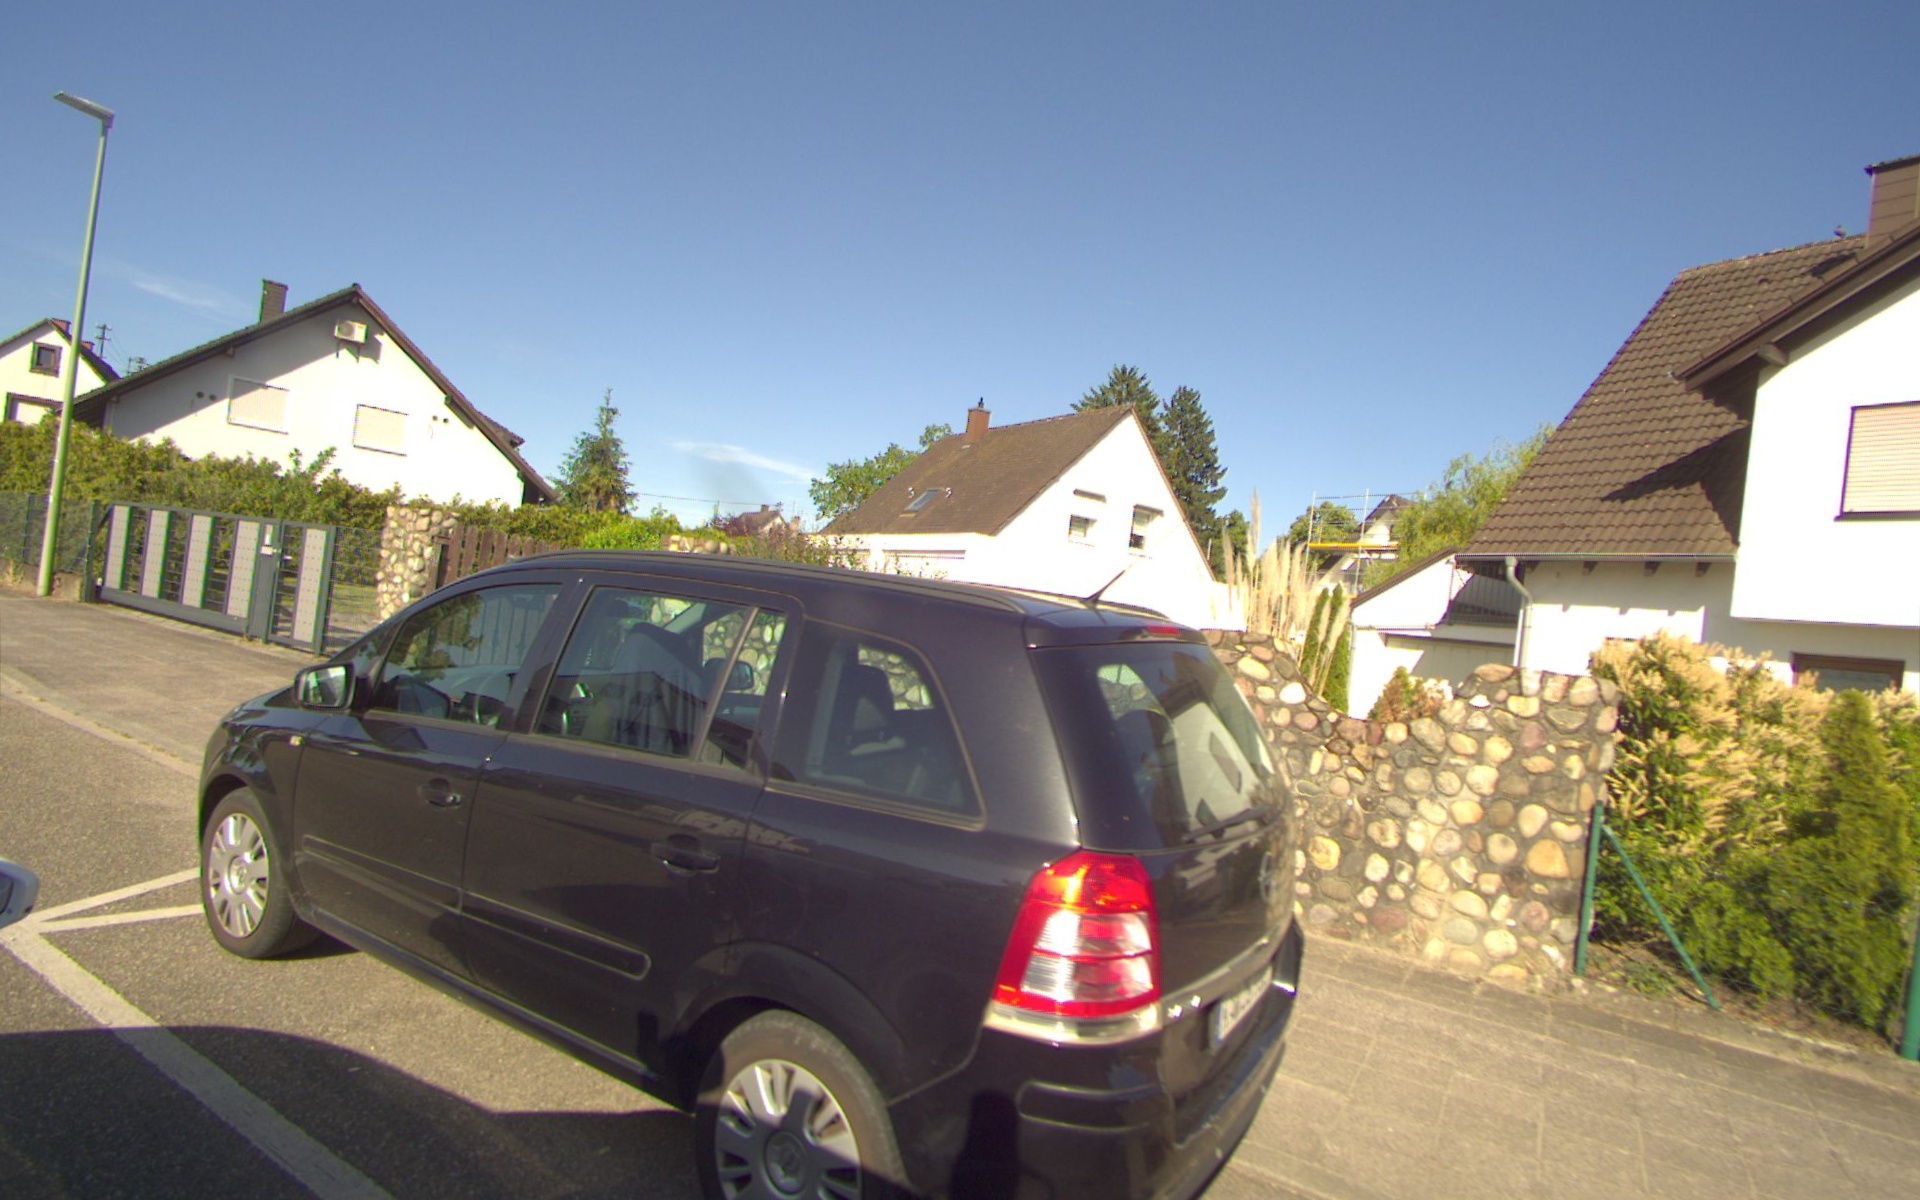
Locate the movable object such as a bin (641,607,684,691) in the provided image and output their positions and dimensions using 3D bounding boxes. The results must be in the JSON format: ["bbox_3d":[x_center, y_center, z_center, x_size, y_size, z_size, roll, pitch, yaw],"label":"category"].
[{"bbox_3d":[-3.485,0.578,11.797,0.341,0.936,0.203,7,0,-31],"label":"movable object such as a bin"}]

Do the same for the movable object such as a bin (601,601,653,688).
[{"bbox_3d":[-3.886,0.517,11.739,0.369,0.936,0.549,7,0,-30],"label":"movable object such as a bin"}]

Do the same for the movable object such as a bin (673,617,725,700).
[{"bbox_3d":[-3.120,0.697,12.019,0.433,0.936,0.289,7,0,-31],"label":"movable object such as a bin"}]

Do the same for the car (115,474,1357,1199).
[{"bbox_3d":[-1.049,0.627,3.650,4.233,1.678,1.779,7,-2,33],"label":"car"}]
